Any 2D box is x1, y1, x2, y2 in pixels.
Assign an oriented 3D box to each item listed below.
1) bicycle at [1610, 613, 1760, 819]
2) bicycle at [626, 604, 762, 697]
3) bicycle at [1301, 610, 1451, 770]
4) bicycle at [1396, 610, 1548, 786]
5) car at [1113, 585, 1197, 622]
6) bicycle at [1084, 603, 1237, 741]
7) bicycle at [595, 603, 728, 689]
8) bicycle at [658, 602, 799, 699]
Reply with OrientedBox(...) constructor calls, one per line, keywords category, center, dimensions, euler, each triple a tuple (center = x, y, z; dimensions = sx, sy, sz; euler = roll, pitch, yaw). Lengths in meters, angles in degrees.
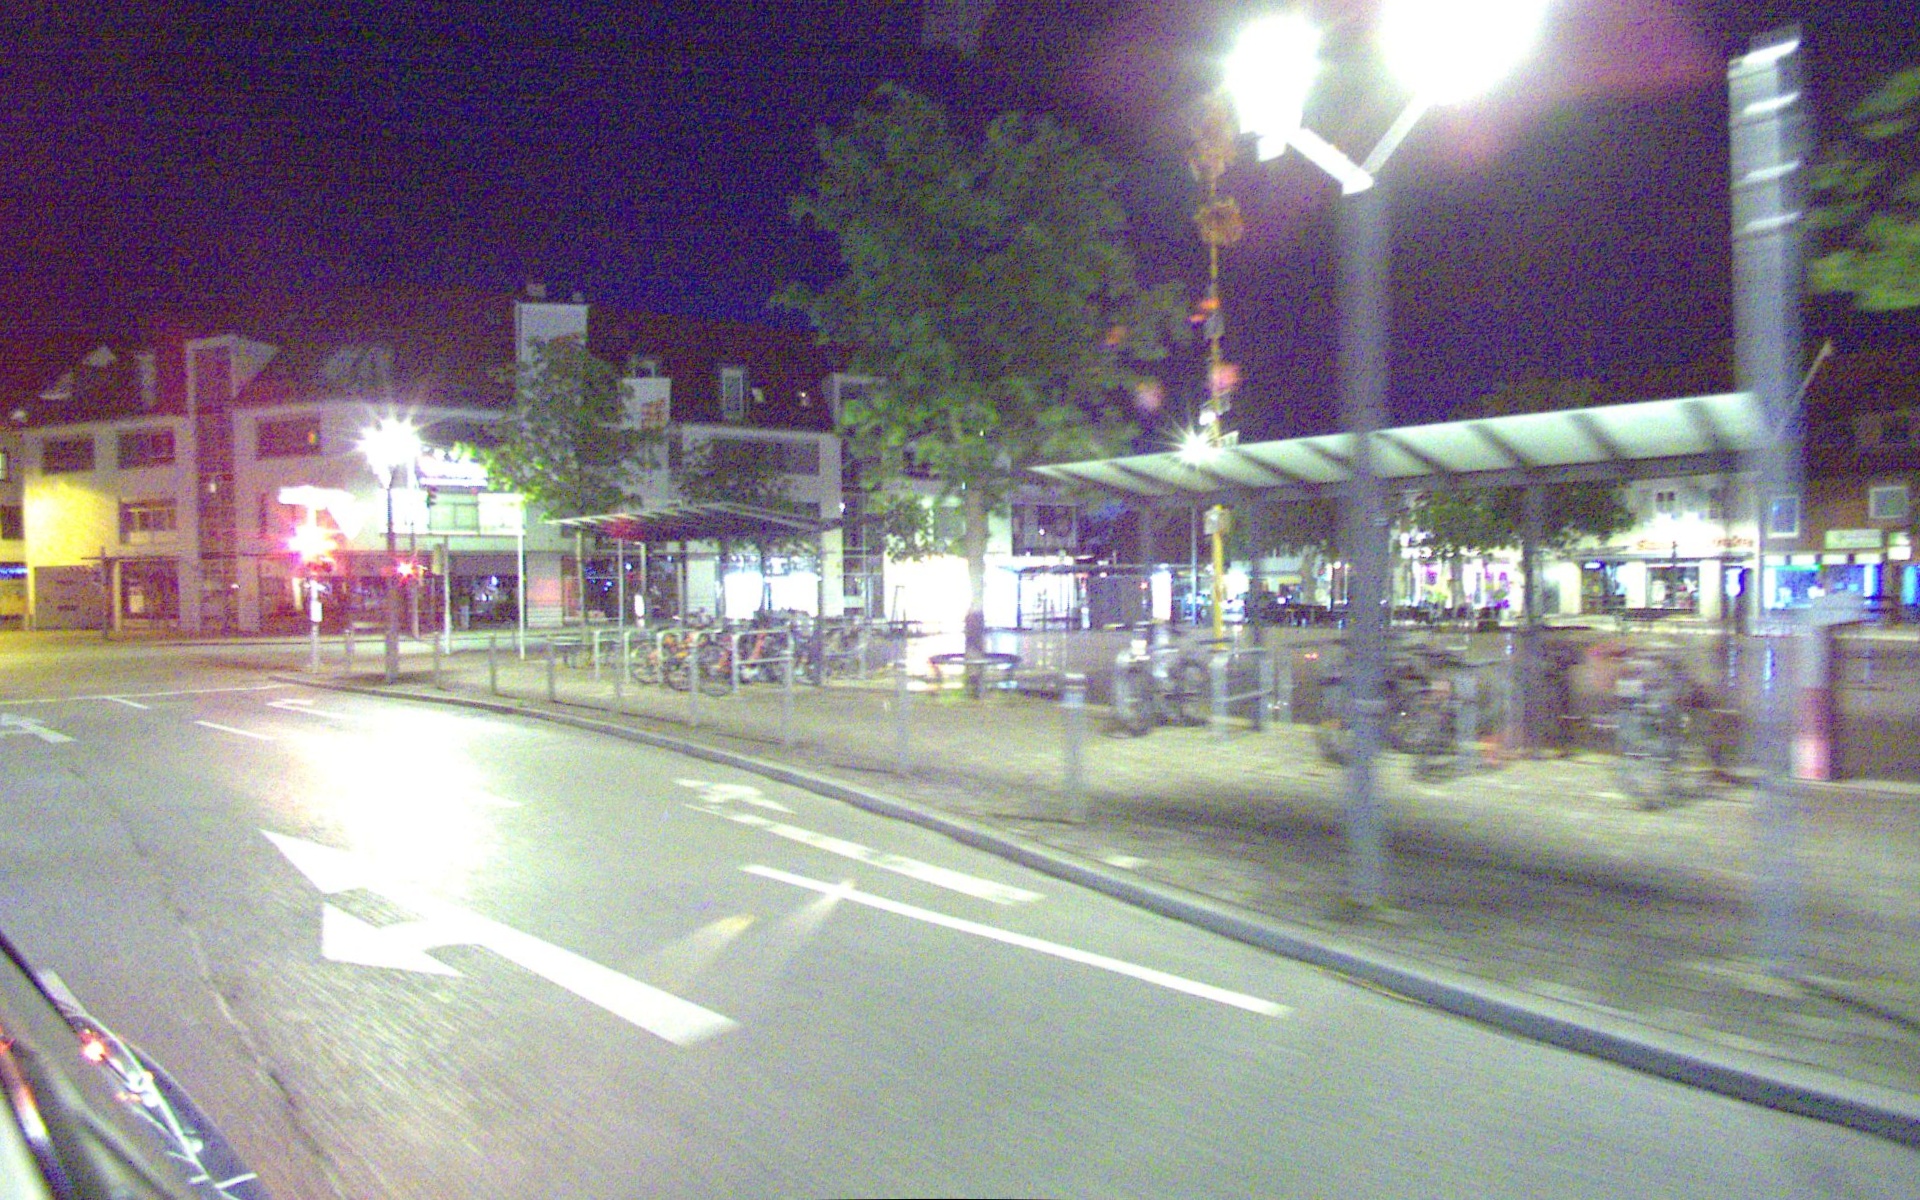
OrientedBox(category="bicycle", center=(4.730, 0.668, 6.563), dimensions=(0.670, 1.114, 1.599), euler=(1, 1, 40))
OrientedBox(category="bicycle", center=(-3.845, 0.693, 14.702), dimensions=(1.715, 1.166, 0.787), euler=(-4, 4, -45))
OrientedBox(category="bicycle", center=(3.382, 0.660, 8.156), dimensions=(0.670, 1.114, 1.599), euler=(1, 1, 40))
OrientedBox(category="bicycle", center=(3.842, 0.660, 7.535), dimensions=(0.670, 1.114, 1.599), euler=(0, 1, 40))
OrientedBox(category="car", center=(10.621, 0.181, 55.005), dimensions=(4.345, 1.951, 1.965), euler=(-1, -1, -35))
OrientedBox(category="bicycle", center=(1.953, 0.629, 9.666), dimensions=(0.670, 1.173, 1.751), euler=(-1, 0, 40))
OrientedBox(category="bicycle", center=(-4.663, 0.689, 15.906), dimensions=(1.813, 1.166, 0.787), euler=(-4, 4, -45))
OrientedBox(category="bicycle", center=(-3.224, 0.669, 14.199), dimensions=(1.715, 1.175, 0.787), euler=(-4, 2, -45))
